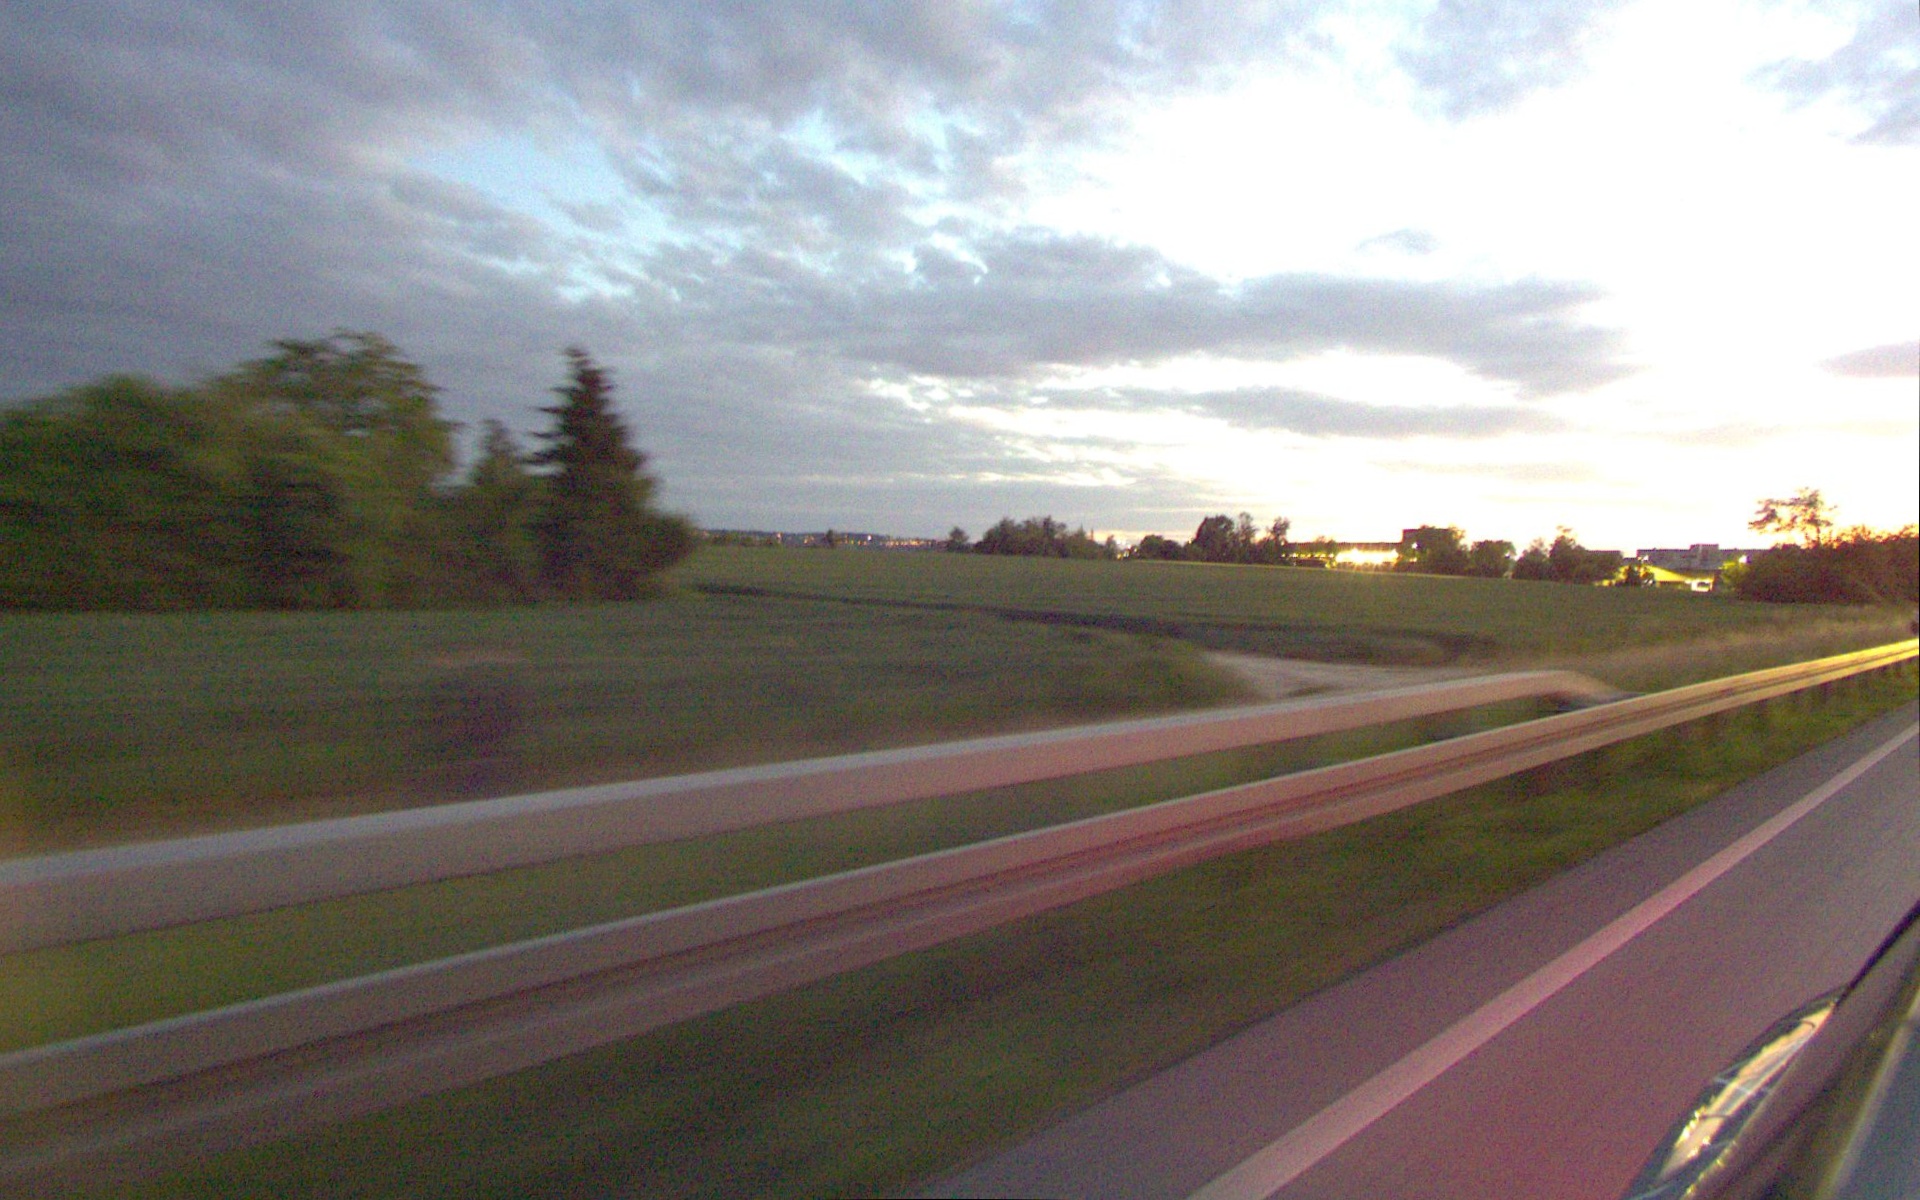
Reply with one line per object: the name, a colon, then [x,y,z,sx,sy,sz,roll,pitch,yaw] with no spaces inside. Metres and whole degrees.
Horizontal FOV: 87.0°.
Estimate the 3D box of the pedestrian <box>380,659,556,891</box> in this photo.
pedestrian: [-4.114,1.373,8.454,1.098,1.664,1.064,0,0,-40]
